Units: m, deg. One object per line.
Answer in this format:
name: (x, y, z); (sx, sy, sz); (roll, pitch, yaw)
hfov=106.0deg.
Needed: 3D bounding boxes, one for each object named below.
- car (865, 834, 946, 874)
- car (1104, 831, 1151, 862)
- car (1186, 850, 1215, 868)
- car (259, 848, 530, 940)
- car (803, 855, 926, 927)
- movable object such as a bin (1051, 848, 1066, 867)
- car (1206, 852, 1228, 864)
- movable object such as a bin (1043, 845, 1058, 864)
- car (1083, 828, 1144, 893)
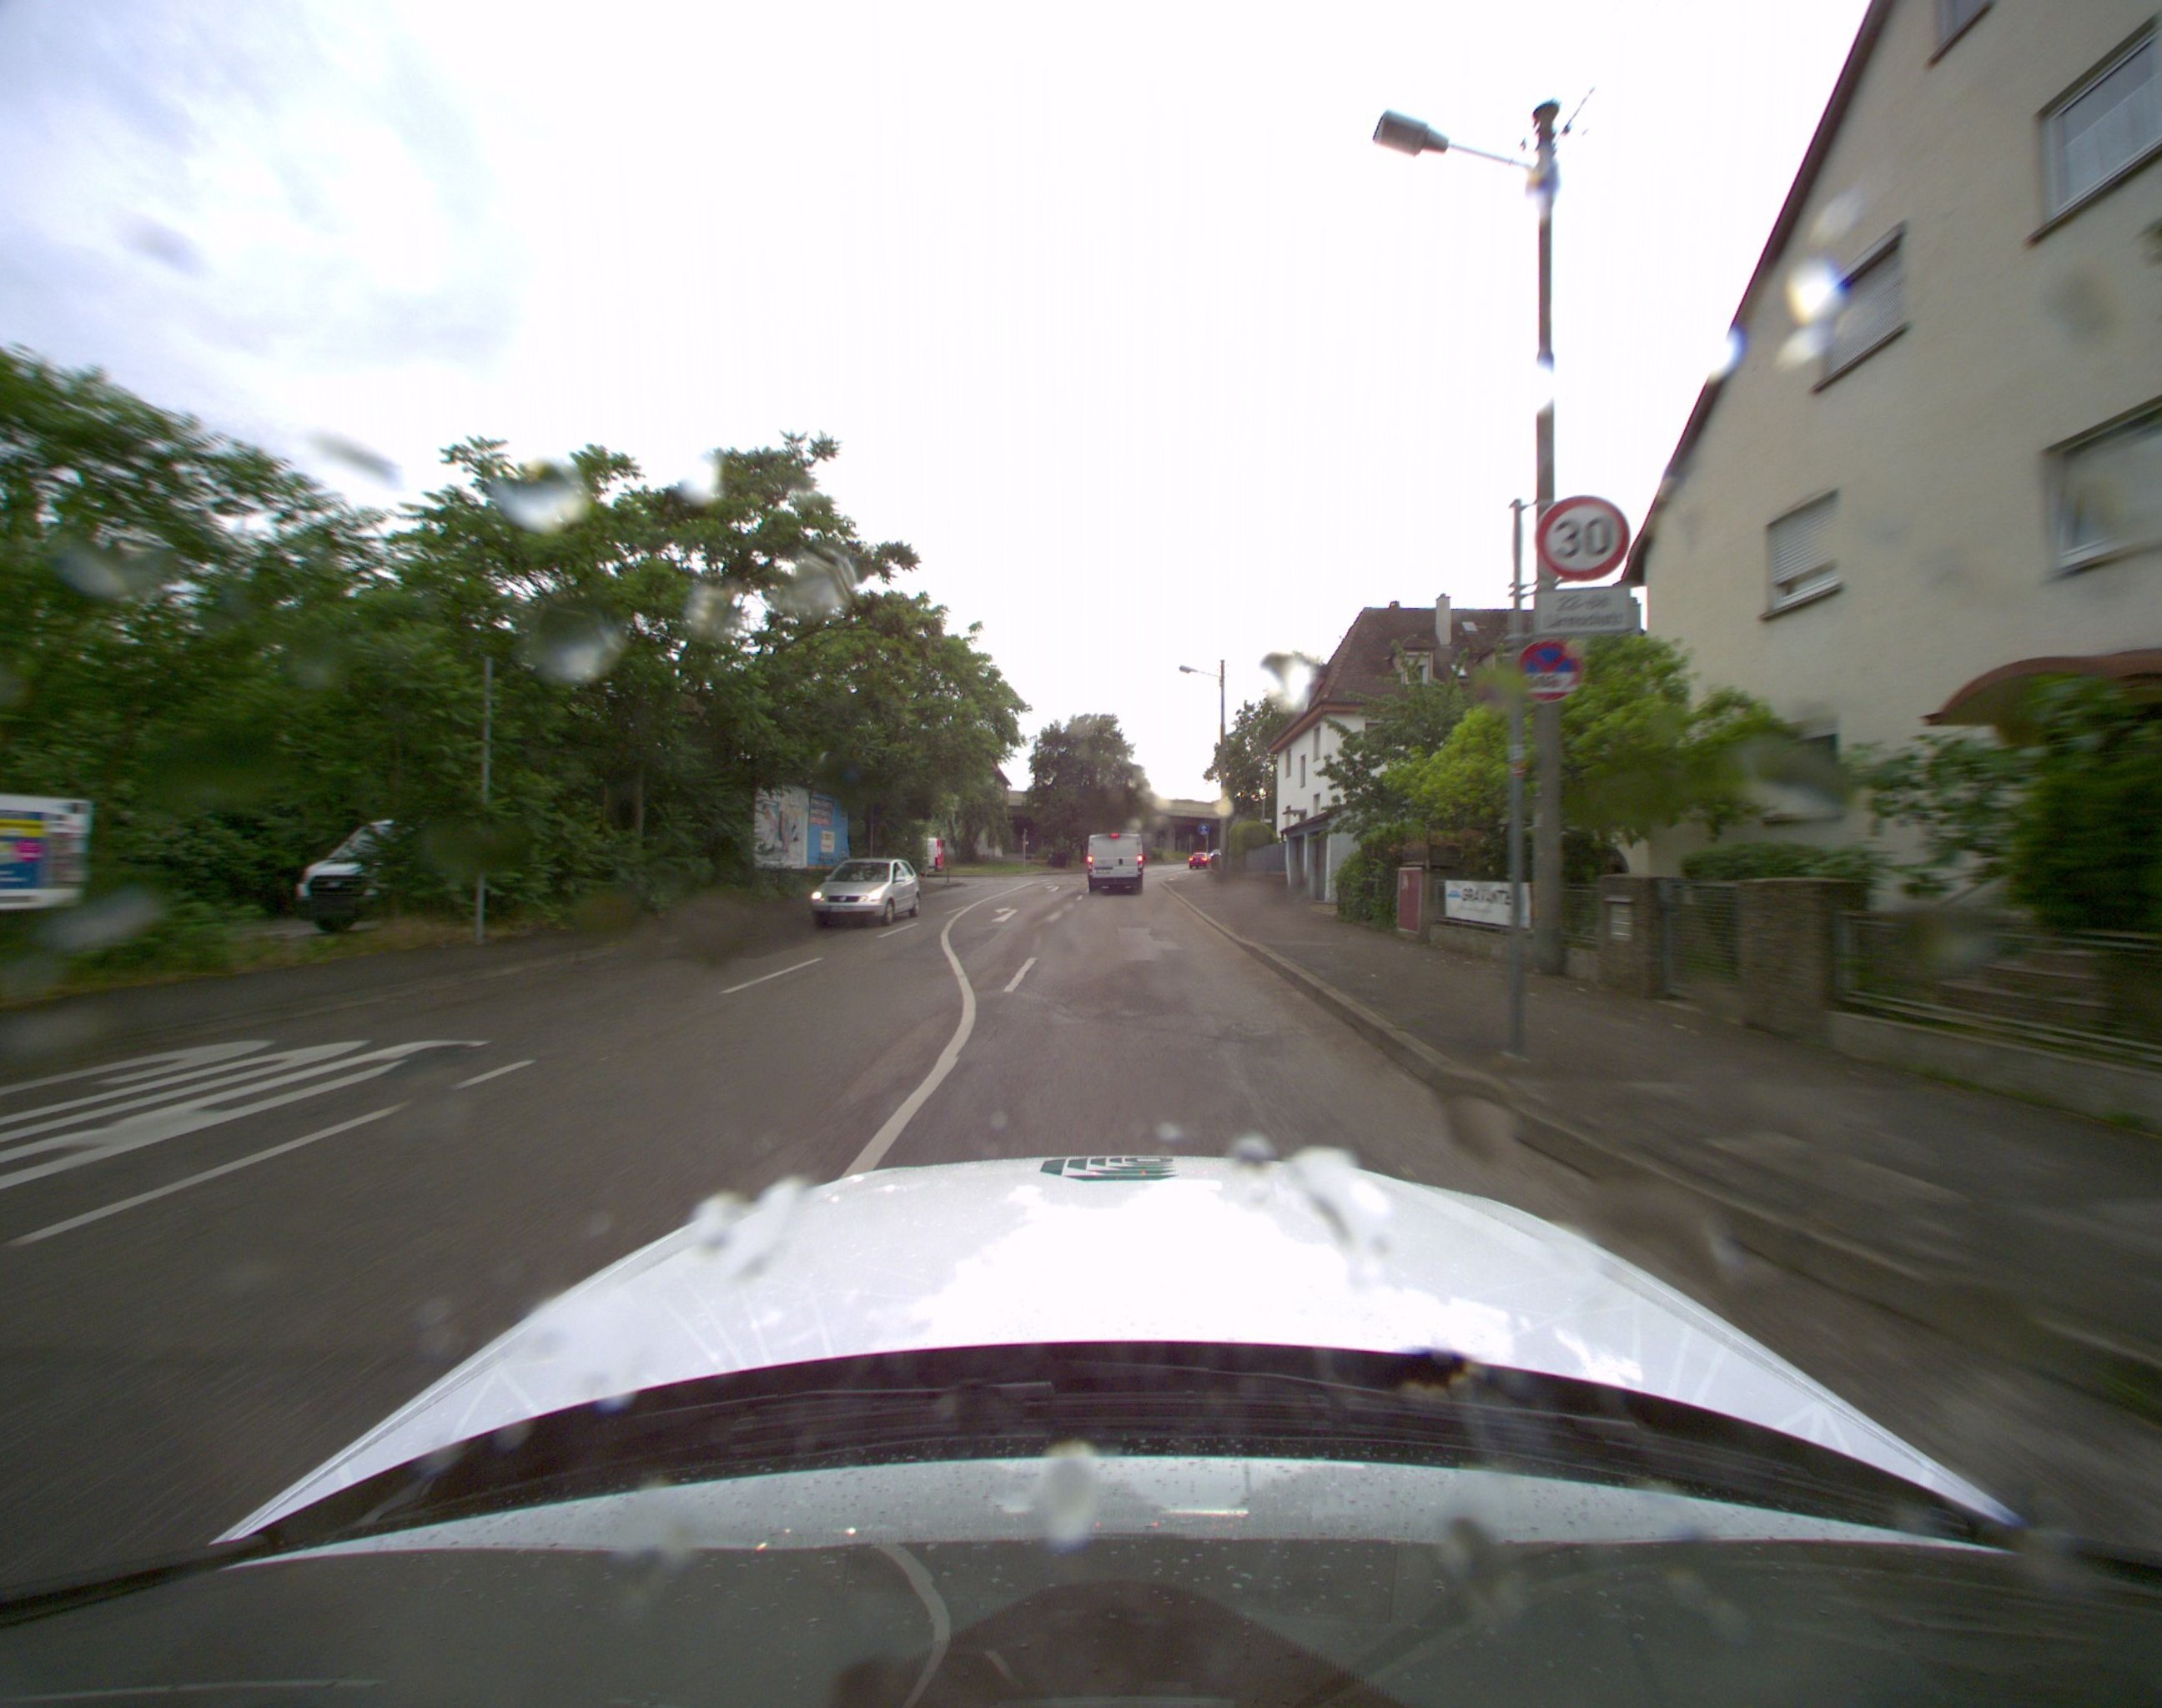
car: (-12.086, -0.004, 56.321); (5.028, 2.628, 2.154); (1, 0, 1)
car: (4.772, -0.726, 82.691); (2.512, 3.018, 7.248); (2, 0, 21)
car: (10.826, 0.466, 73.824); (1.750, 1.510, 3.774); (2, 0, 21)
car: (-12.978, 0.686, 15.787); (1.696, 1.494, 4.001); (2, 0, 2)
car: (-4.840, 0.771, 18.786); (1.648, 1.417, 3.937); (-1, 0, 2)
movable object such as a bin: (-1.965, 0.301, 71.102); (0.935, 1.564, 1.132); (7, 1, 7)
car: (17.382, 0.497, 103.746); (1.977, 1.457, 4.852); (0, -1, 19)
movable object such as a bin: (-2.702, 0.077, 72.619); (0.935, 1.564, 1.132); (7, 1, 7)
car: (1.353, 0.237, 32.031); (2.137, 2.283, 5.068); (2, 0, 4)
